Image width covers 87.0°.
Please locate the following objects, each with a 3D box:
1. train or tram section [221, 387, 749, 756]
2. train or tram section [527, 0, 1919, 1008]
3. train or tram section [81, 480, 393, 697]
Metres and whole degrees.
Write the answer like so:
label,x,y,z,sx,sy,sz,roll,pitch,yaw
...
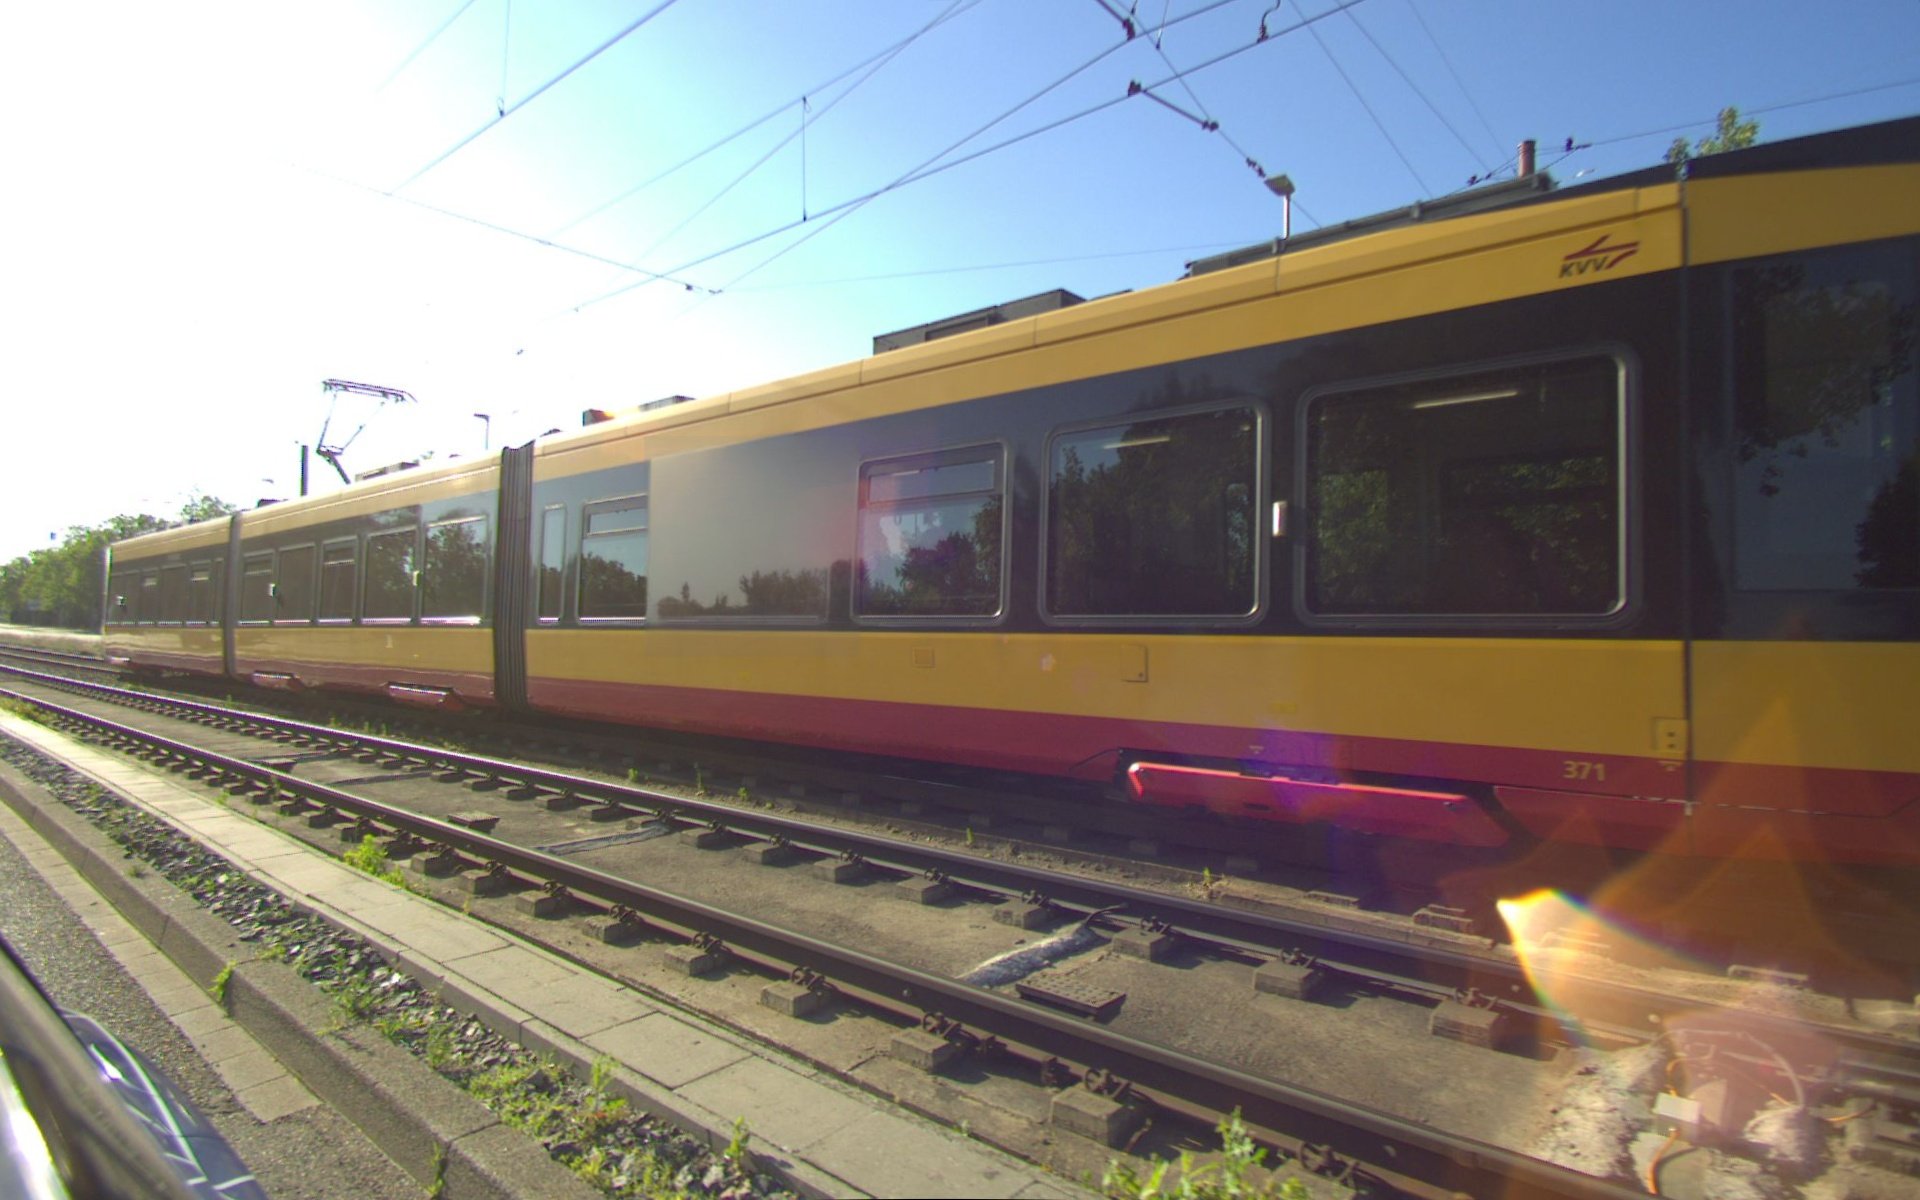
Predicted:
label,x,y,z,sx,sy,sz,roll,pitch,yaw
train or tram section,-8.070,-0.201,15.708,11.658,3.930,2.945,-1,-2,41
train or tram section,1.189,-0.406,7.638,12.694,3.930,2.947,-1,-2,41
train or tram section,-17.464,-0.099,23.769,13.073,3.930,2.973,-1,-2,41
